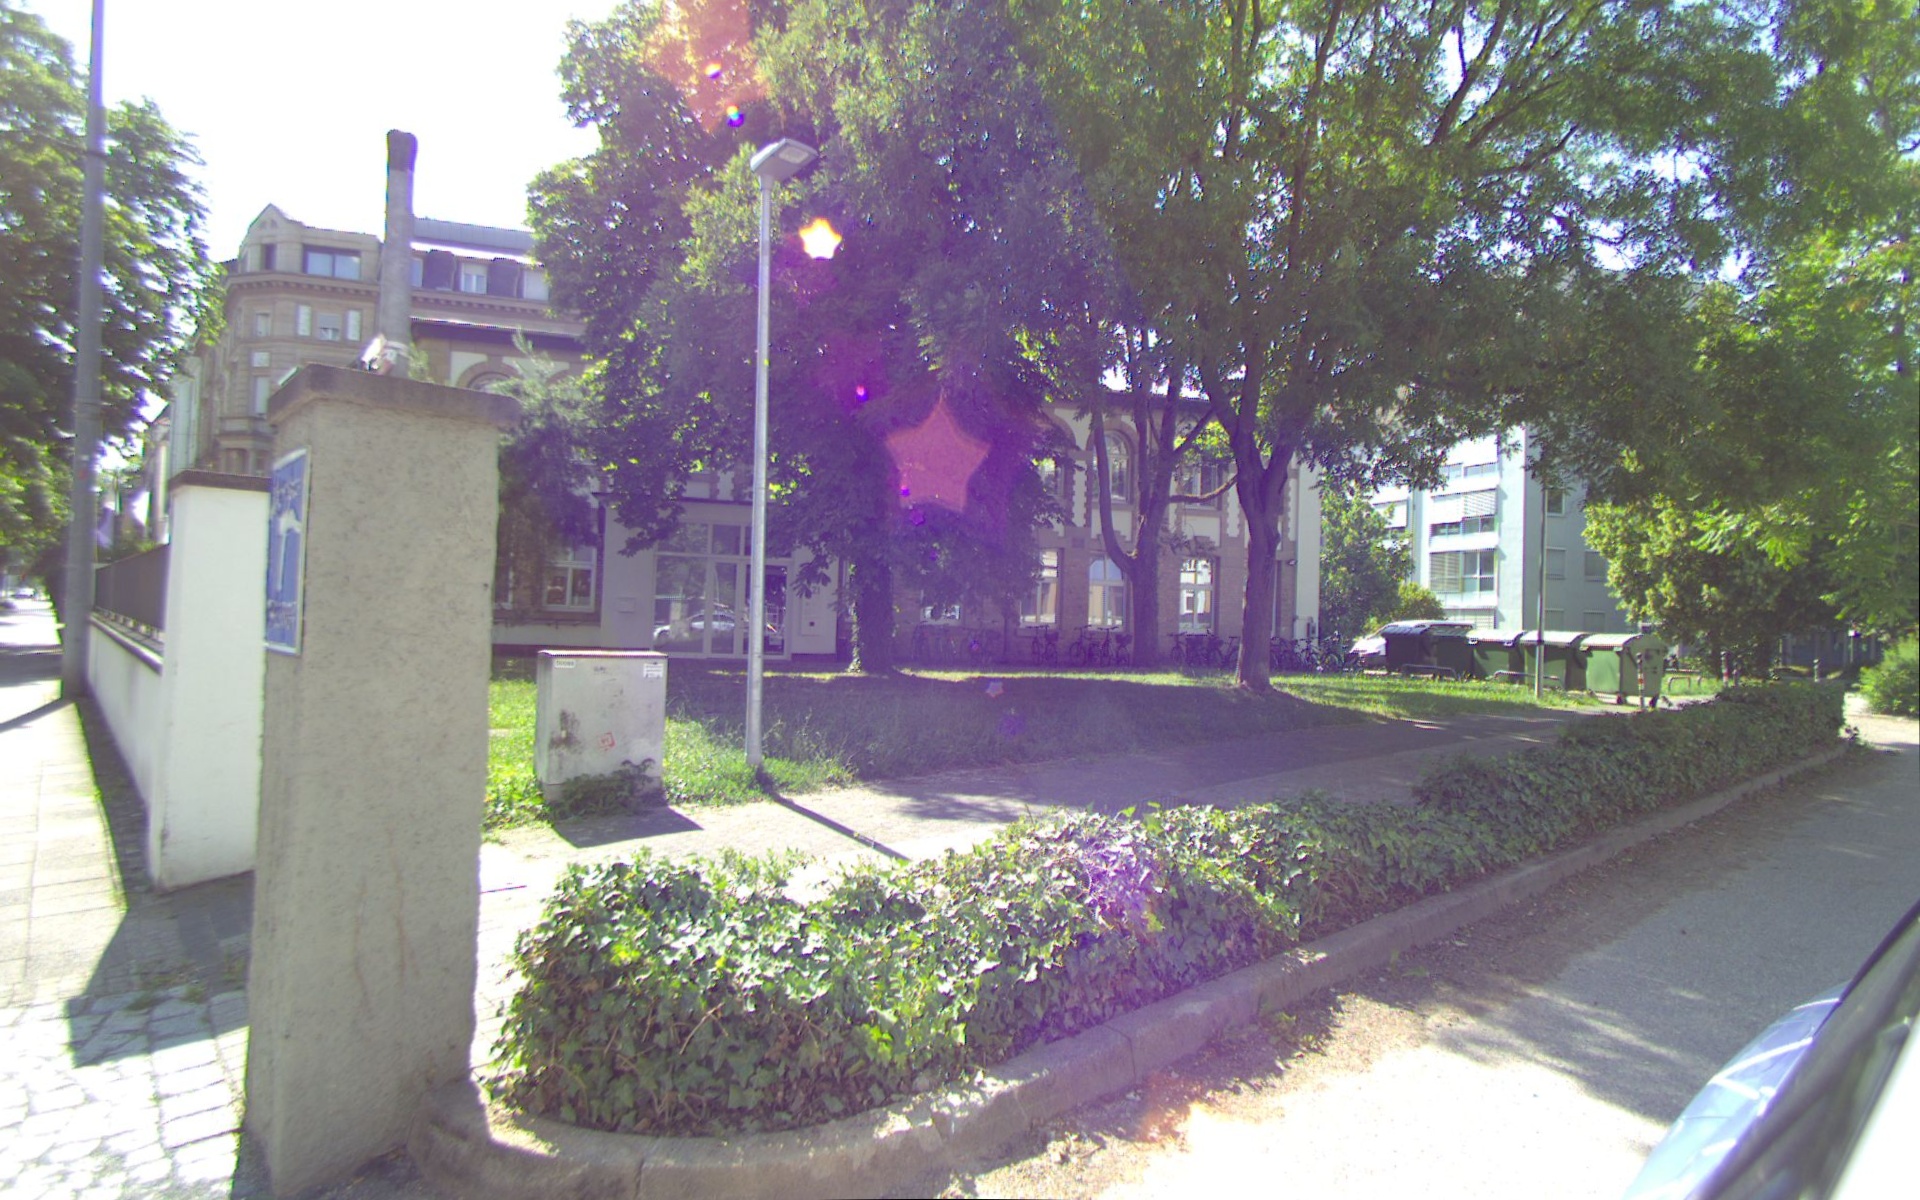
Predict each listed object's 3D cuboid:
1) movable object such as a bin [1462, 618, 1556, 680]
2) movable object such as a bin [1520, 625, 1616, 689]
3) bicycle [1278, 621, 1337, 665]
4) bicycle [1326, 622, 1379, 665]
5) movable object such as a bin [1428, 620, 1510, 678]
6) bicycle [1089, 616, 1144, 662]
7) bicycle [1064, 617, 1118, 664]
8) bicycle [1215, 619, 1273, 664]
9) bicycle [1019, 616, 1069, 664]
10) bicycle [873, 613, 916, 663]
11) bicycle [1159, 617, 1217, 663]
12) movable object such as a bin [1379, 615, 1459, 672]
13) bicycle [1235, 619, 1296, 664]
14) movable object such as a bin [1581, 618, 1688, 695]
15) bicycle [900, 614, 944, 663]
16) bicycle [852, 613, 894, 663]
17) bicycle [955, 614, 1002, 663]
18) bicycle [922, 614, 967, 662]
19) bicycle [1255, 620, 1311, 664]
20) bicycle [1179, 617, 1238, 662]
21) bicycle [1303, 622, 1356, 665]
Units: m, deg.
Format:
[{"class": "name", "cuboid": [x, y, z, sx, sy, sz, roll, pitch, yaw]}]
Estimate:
[{"class": "movable object such as a bin", "cuboid": [12.747, 1.121, 23.528, 1.190, 1.379, 1.505, 2, -1, -20]}, {"class": "movable object such as a bin", "cuboid": [13.274, 1.224, 22.128, 1.190, 1.317, 1.358, 2, -1, -20]}, {"class": "bicycle", "cuboid": [9.923, 1.221, 28.984, 0.600, 1.176, 1.855, 2, -1, -17]}, {"class": "bicycle", "cuboid": [11.201, 1.224, 28.950, 0.546, 1.176, 1.947, 1, -1, -7]}, {"class": "movable object such as a bin", "cuboid": [12.575, 1.199, 25.057, 1.190, 1.366, 1.355, 2, -1, -20]}, {"class": "bicycle", "cuboid": [4.199, 1.035, 27.348, 0.575, 1.176, 2.107, 2, -1, -17]}, {"class": "bicycle", "cuboid": [3.483, 1.059, 27.093, 0.575, 1.176, 2.107, 2, -1, -17]}, {"class": "bicycle", "cuboid": [7.908, 1.132, 28.267, 0.575, 1.176, 1.925, 2, -1, -17]}, {"class": "bicycle", "cuboid": [2.195, 1.036, 26.744, 0.575, 1.176, 2.107, 2, -1, -17]}, {"class": "bicycle", "cuboid": [-1.675, 0.943, 25.600, 0.575, 1.176, 2.107, 2, -1, -17]}, {"class": "bicycle", "cuboid": [6.241, 1.071, 27.818, 0.575, 1.176, 2.107, 2, -1, -17]}, {"class": "movable object such as a bin", "cuboid": [12.019, 1.133, 26.533, 1.224, 1.427, 1.439, 2, -1, -21]}, {"class": "bicycle", "cuboid": [8.588, 1.158, 28.548, 0.575, 1.176, 2.107, 2, -1, -17]}, {"class": "movable object such as a bin", "cuboid": [13.765, 1.129, 20.698, 1.191, 1.481, 1.393, 1, -1, -5]}, {"class": "bicycle", "cuboid": [-0.980, 0.953, 25.807, 0.575, 1.176, 2.107, 2, -1, -17]}, {"class": "bicycle", "cuboid": [-2.161, 0.916, 24.990, 0.575, 1.176, 2.107, 2, -1, -17]}, {"class": "bicycle", "cuboid": [0.459, 0.978, 26.306, 0.575, 1.176, 2.107, 2, -1, -17]}, {"class": "bicycle", "cuboid": [-0.432, 0.959, 26.103, 0.575, 1.176, 2.107, 2, -1, -17]}, {"class": "bicycle", "cuboid": [9.131, 1.174, 28.691, 0.484, 1.176, 1.918, 2, -1, -17]}, {"class": "bicycle", "cuboid": [6.852, 1.082, 28.061, 0.575, 1.176, 2.107, 2, -1, -17]}, {"class": "bicycle", "cuboid": [10.574, 1.227, 29.019, 0.496, 1.176, 1.808, 2, -1, -12]}]
